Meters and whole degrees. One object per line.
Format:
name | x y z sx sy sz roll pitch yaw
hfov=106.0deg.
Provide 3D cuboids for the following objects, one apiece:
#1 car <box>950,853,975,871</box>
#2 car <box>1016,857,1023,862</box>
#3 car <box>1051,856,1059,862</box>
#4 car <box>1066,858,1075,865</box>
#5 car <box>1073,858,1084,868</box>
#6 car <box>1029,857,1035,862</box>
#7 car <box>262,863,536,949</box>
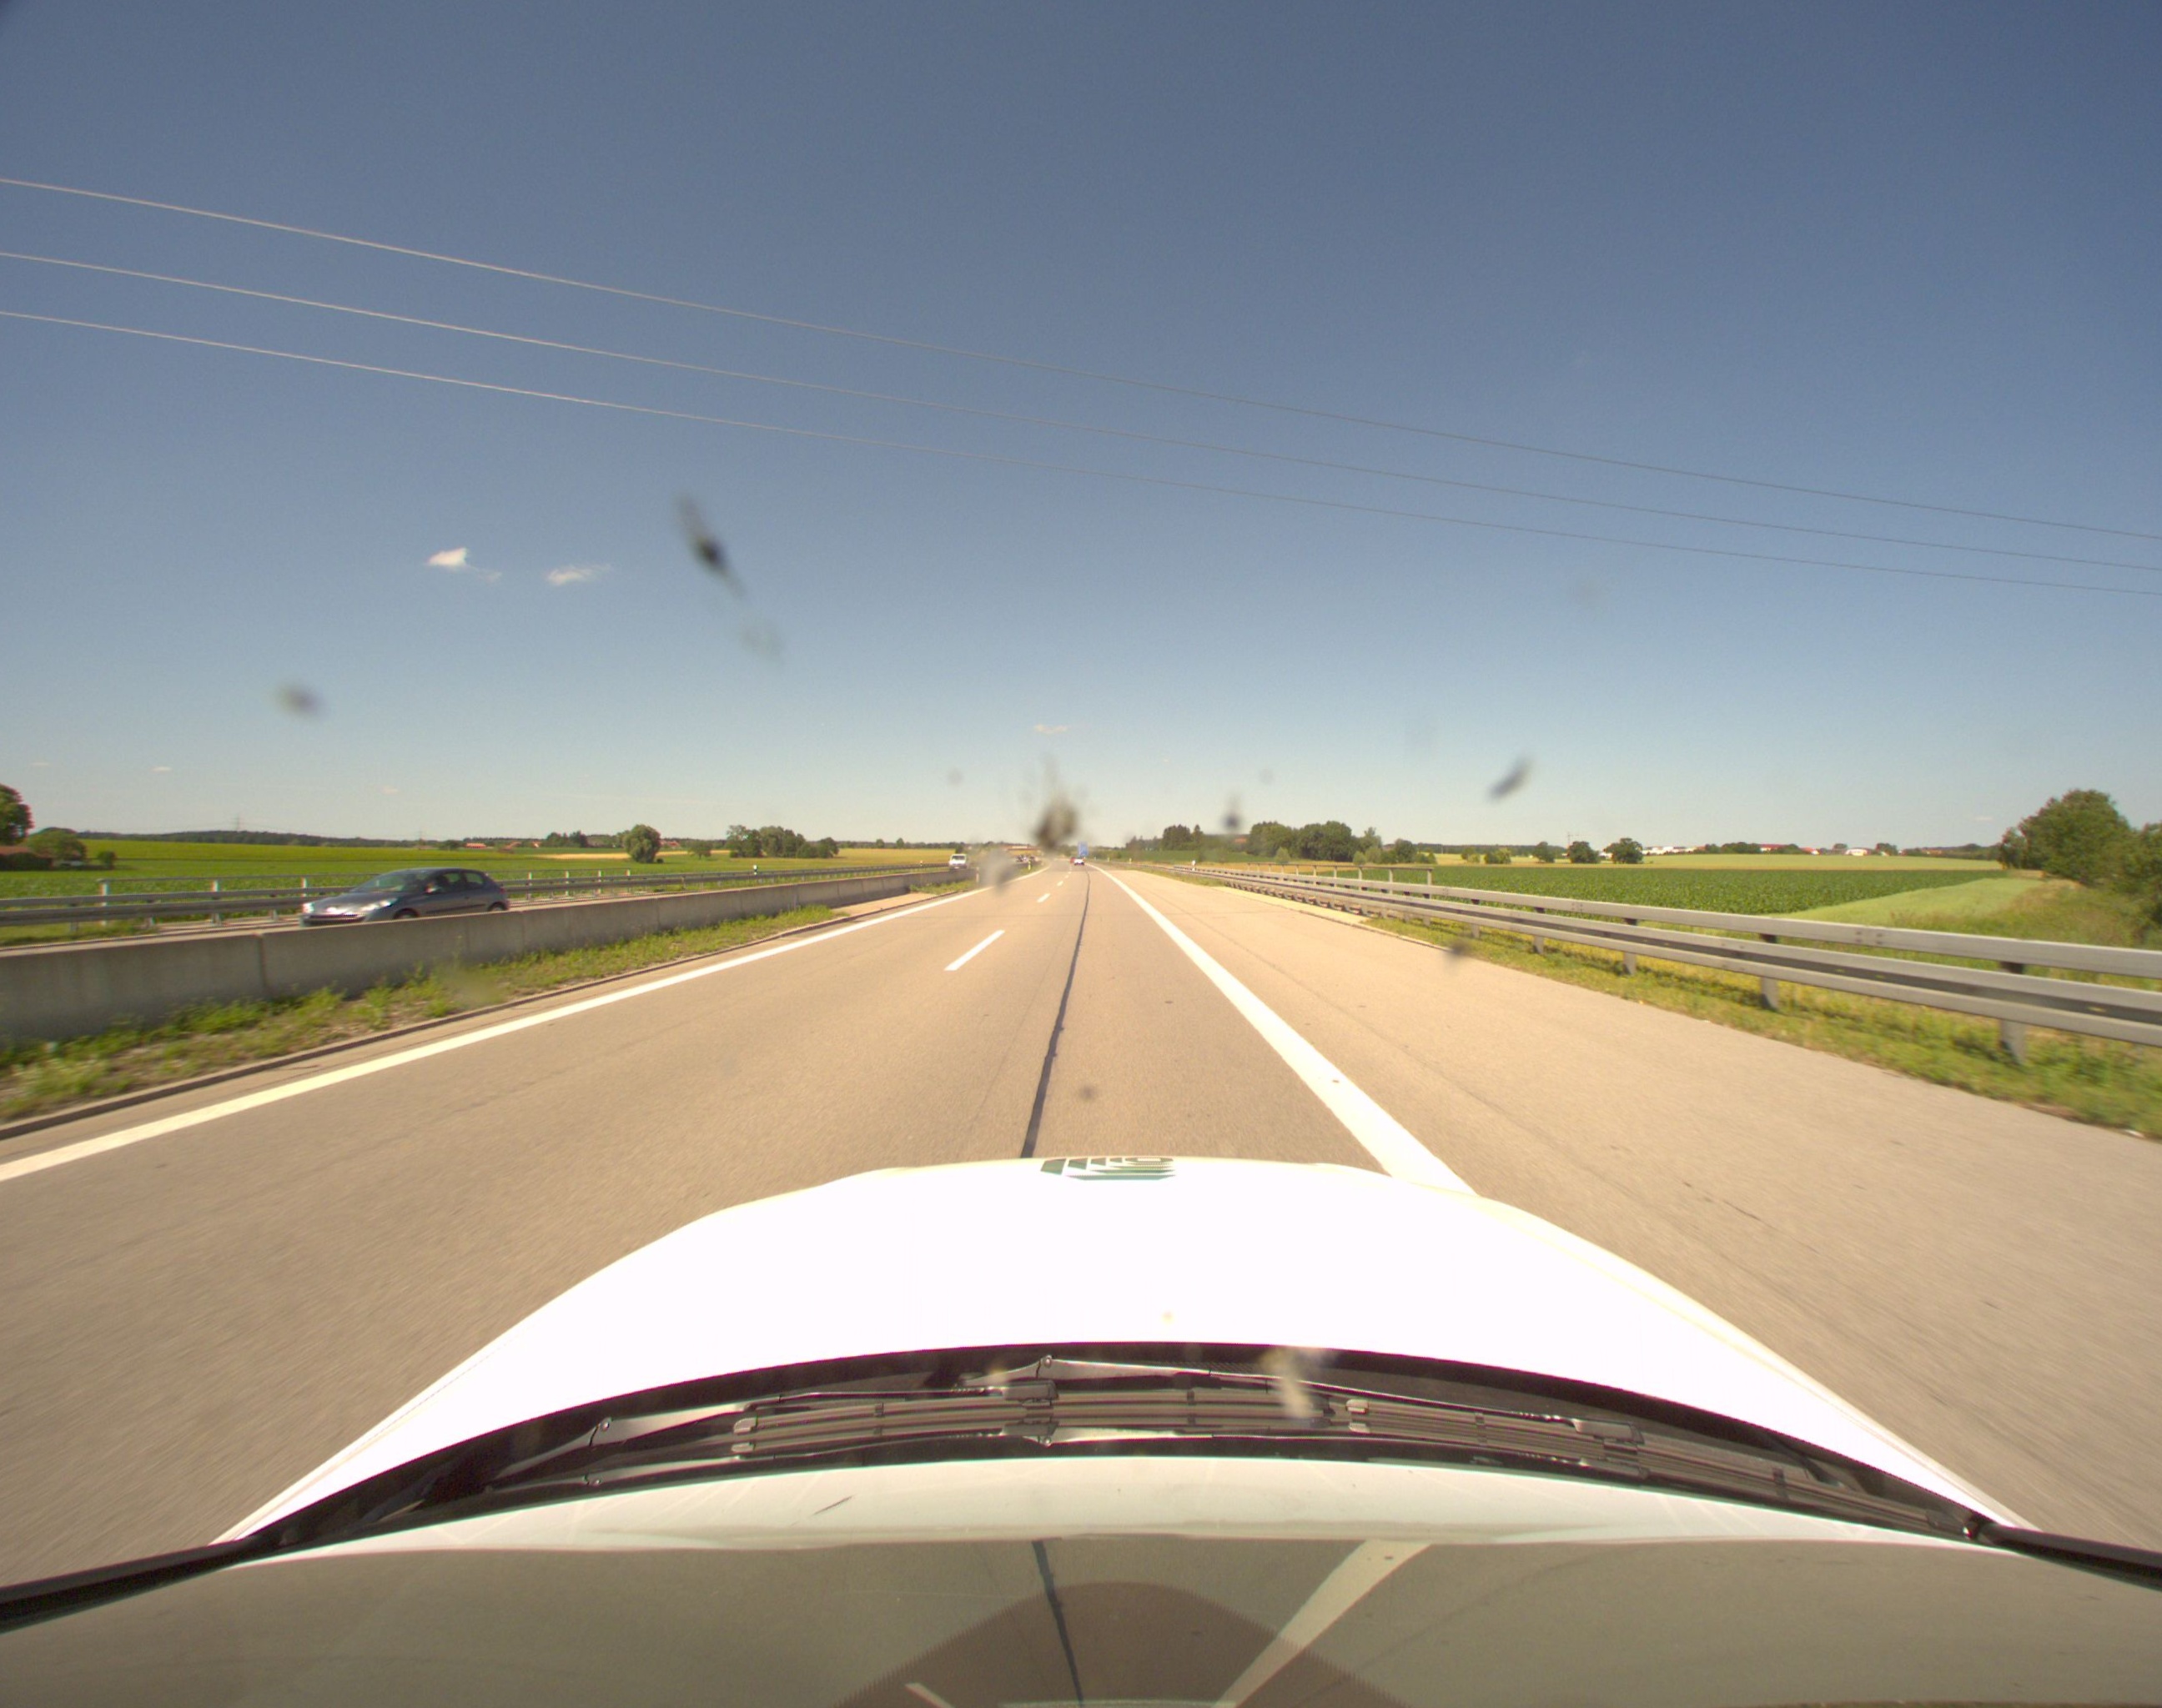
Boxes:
car | -13.385 0.918 92.244 1.987 2.014 5.613 -1 -1 0
car | -17.655 1.666 235.004 1.821 1.365 4.652 -1 0 -7
car | -8.063 1.473 251.322 1.991 1.731 4.860 0 0 -5
car | -2.709 1.831 202.831 1.989 1.731 4.863 0 0 -3
car | -0.480 1.651 152.436 1.989 1.731 4.864 0 0 -3
car | -14.643 1.585 244.738 1.819 1.365 5.189 -1 0 -4
car | -14.156 0.988 17.354 1.852 1.514 4.587 1 0 1
